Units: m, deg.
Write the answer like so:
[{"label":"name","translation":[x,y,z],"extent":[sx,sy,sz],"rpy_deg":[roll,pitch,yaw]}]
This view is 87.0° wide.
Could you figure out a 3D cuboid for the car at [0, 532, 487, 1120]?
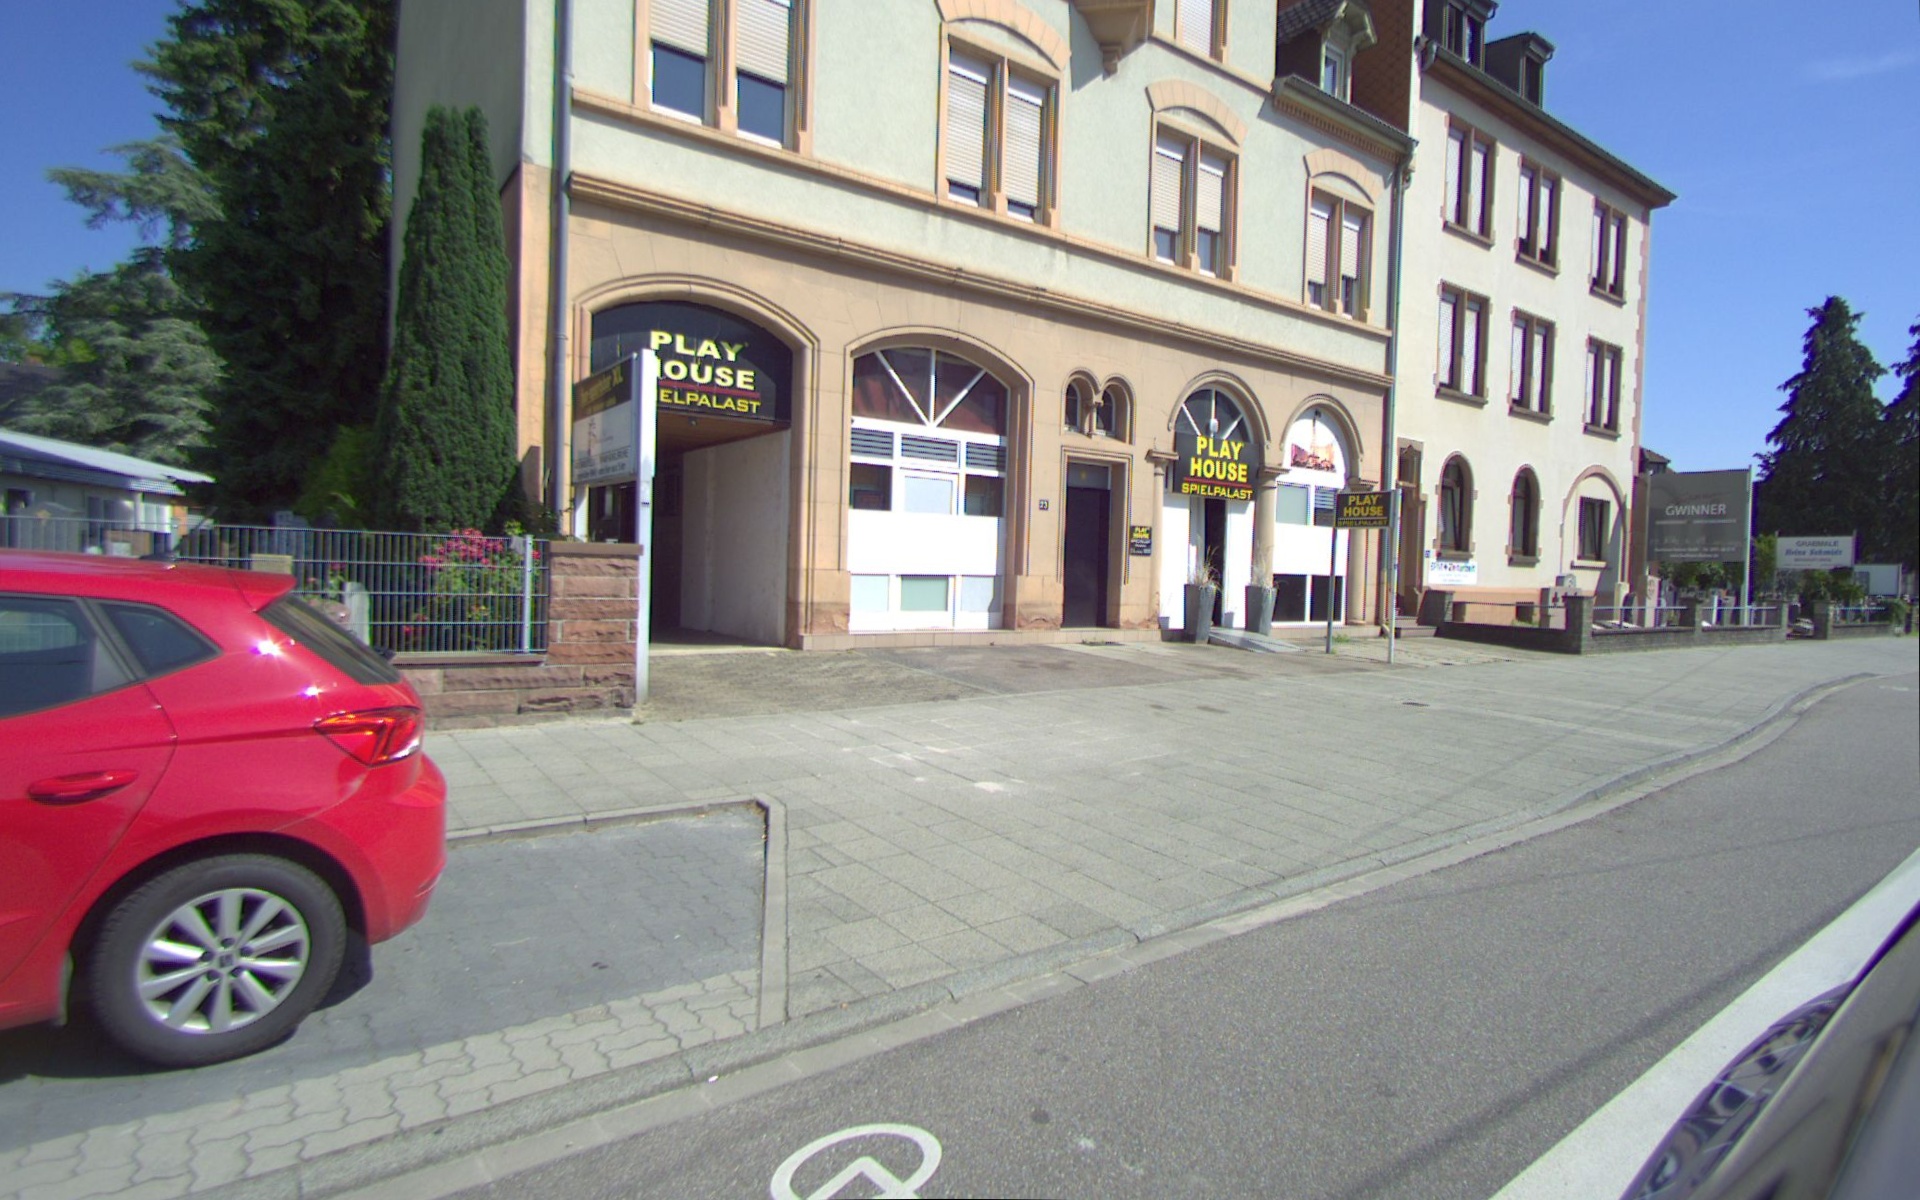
[{"label":"car","translation":[-3.720,0.538,2.608],"extent":[4.234,1.460,1.727],"rpy_deg":[0,4,-39]}]
